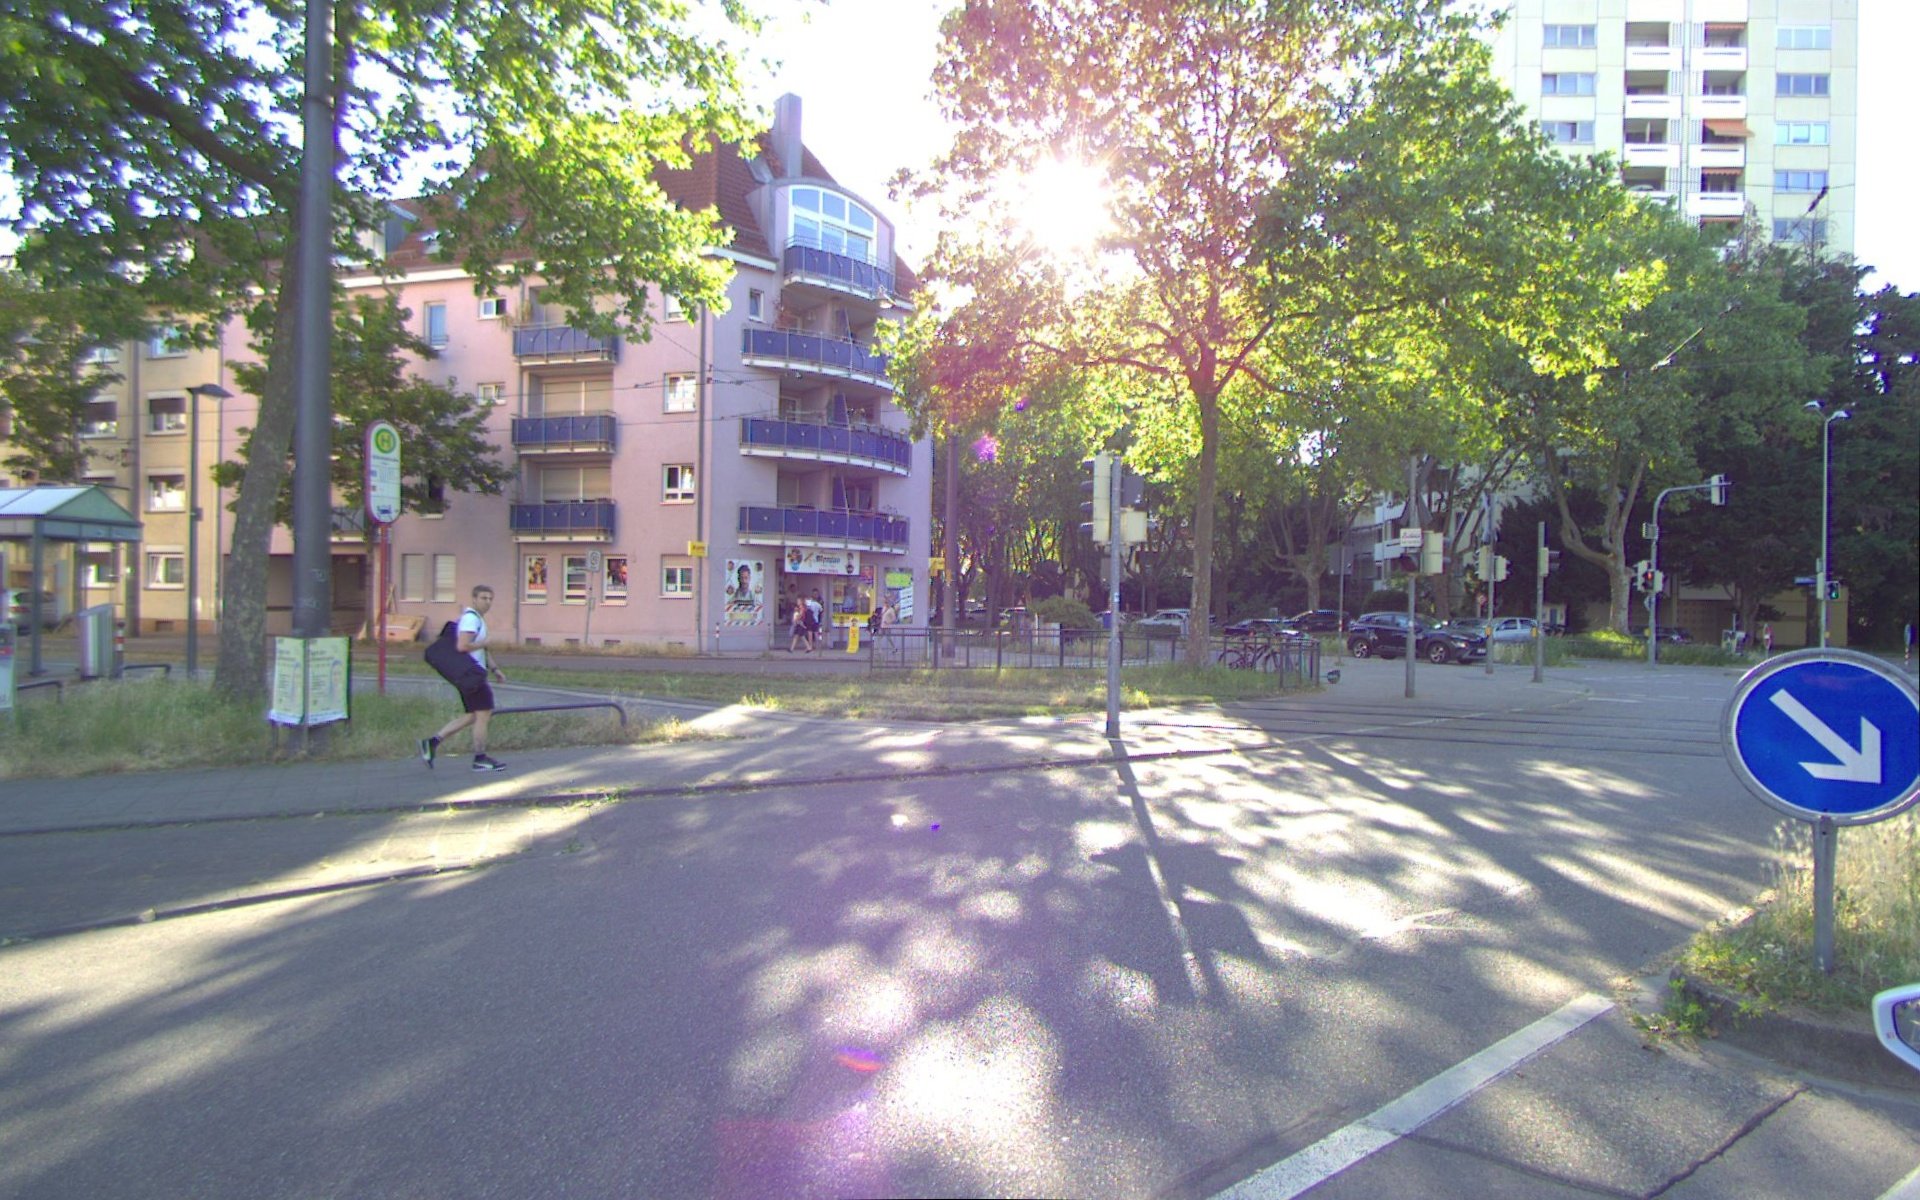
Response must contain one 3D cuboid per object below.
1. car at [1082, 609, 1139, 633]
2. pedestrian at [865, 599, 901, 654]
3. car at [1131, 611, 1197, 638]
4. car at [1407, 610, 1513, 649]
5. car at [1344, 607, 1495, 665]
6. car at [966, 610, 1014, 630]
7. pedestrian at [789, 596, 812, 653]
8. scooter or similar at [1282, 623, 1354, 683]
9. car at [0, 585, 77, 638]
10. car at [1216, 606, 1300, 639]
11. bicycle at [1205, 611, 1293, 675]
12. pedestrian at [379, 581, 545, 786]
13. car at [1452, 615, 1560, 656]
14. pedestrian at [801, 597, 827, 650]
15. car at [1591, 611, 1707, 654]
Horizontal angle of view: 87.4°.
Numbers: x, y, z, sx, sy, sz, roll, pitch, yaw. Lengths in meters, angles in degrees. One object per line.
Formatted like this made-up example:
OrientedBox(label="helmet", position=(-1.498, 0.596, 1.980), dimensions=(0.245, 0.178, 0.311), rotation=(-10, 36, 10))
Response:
OrientedBox(label="car", position=(11.058, 1.553, 73.884), dimensions=(3.921, 1.617, 1.738), rotation=(2, 0, 0))
OrientedBox(label="pedestrian", position=(-2.397, 0.819, 31.261), dimensions=(0.910, 1.689, 0.618), rotation=(2, 0, 33))
OrientedBox(label="car", position=(13.377, 1.581, 65.970), dimensions=(3.921, 1.617, 1.738), rotation=(2, 0, 0))
OrientedBox(label="car", position=(22.814, 1.330, 45.919), dimensions=(3.921, 1.617, 1.738), rotation=(2, 0, 0))
OrientedBox(label="car", position=(14.298, 1.092, 31.422), dimensions=(1.722, 1.617, 3.959), rotation=(2, 0, -36))
OrientedBox(label="car", position=(2.583, 1.694, 86.353), dimensions=(3.919, 1.617, 1.739), rotation=(2, 0, 9))
OrientedBox(label="pedestrian", position=(-4.816, 0.738, 30.298), dimensions=(0.609, 1.689, 0.549), rotation=(2, 0, -15))
OrientedBox(label="scooter or similar", position=(7.895, 1.168, 22.190), dimensions=(1.412, 1.255, 0.414), rotation=(2, 0, 9))
OrientedBox(label="car", position=(-33.504, 0.359, 35.207), dimensions=(4.029, 1.728, 1.940), rotation=(2, 0, 16))
OrientedBox(label="car", position=(15.889, 1.207, 53.668), dimensions=(3.921, 1.617, 1.738), rotation=(2, 0, 0))
OrientedBox(label="bicycle", position=(6.372, 0.941, 22.232), dimensions=(1.811, 1.324, 0.382), rotation=(2, 0, 34))
OrientedBox(label="pedestrian", position=(-4.636, 0.729, 9.372), dimensions=(0.889, 1.760, 1.084), rotation=(2, 0, 38))
OrientedBox(label="car", position=(23.852, 1.525, 43.968), dimensions=(3.732, 1.617, 1.738), rotation=(2, 0, 0))
OrientedBox(label="pedestrian", position=(-4.751, 0.759, 32.696), dimensions=(0.610, 1.689, 0.549), rotation=(2, 0, 38))
OrientedBox(label="car", position=(31.594, 1.453, 46.188), dimensions=(1.971, 1.798, 3.979), rotation=(2, 0, -22))
